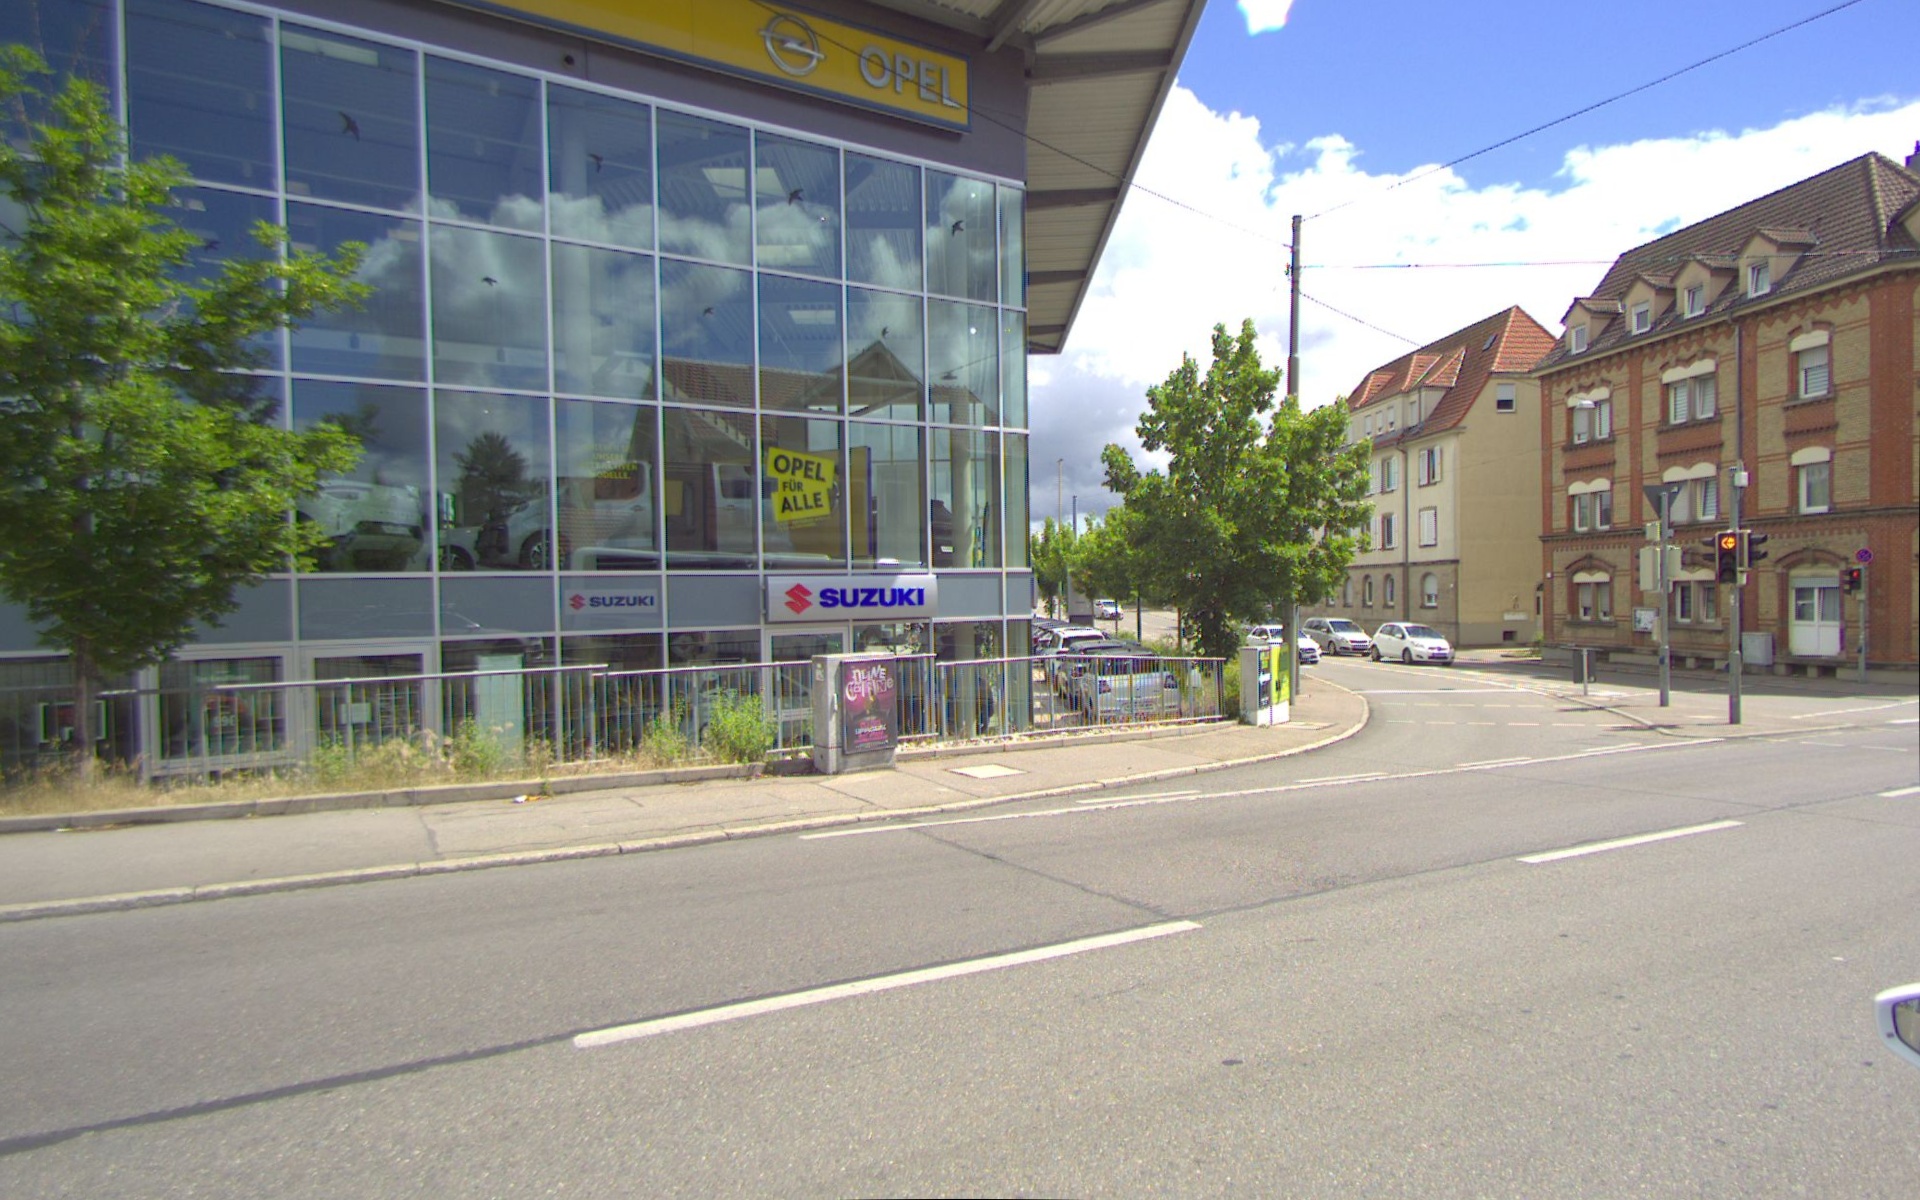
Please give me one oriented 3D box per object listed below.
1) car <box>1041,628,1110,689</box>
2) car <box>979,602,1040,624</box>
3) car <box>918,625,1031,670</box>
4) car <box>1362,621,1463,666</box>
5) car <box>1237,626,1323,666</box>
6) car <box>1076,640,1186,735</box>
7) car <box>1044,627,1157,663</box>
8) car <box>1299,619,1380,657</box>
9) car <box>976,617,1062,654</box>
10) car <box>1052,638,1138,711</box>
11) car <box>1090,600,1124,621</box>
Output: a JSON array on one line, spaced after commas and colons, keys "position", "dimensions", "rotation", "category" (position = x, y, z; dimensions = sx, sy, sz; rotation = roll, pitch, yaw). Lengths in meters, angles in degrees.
[{"position": [3.278, 1.639, 29.088], "dimensions": [1.487, 1.596, 3.414], "rotation": [1, -1, -2], "category": "car"}, {"position": [3.256, 0.846, 66.267], "dimensions": [3.921, 1.311, 1.818], "rotation": [1, -1, 0], "category": "car"}, {"position": [0.557, 1.734, 37.207], "dimensions": [3.919, 1.478, 1.605], "rotation": [1, -1, 15], "category": "car"}, {"position": [17.061, 1.611, 38.082], "dimensions": [1.670, 1.517, 3.995], "rotation": [1, -1, -7], "category": "car"}, {"position": [12.506, 1.774, 39.555], "dimensions": [1.827, 1.466, 4.390], "rotation": [1, -1, -3], "category": "car"}, {"position": [3.393, 1.694, 20.545], "dimensions": [1.720, 1.596, 3.687], "rotation": [2, -1, 2], "category": "car"}, {"position": [5.165, 1.639, 37.204], "dimensions": [3.921, 1.202, 1.818], "rotation": [1, -1, 0], "category": "car"}, {"position": [16.735, 1.645, 44.507], "dimensions": [1.715, 1.539, 3.996], "rotation": [1, -1, -7], "category": "car"}, {"position": [2.647, 1.591, 45.862], "dimensions": [1.974, 1.599, 4.476], "rotation": [1, -1, -26], "category": "car"}, {"position": [3.229, 1.760, 24.694], "dimensions": [1.487, 1.543, 3.792], "rotation": [1, -1, -2], "category": "car"}, {"position": [11.986, 0.839, 82.126], "dimensions": [1.961, 1.607, 4.345], "rotation": [1, 0, -2], "category": "car"}]
